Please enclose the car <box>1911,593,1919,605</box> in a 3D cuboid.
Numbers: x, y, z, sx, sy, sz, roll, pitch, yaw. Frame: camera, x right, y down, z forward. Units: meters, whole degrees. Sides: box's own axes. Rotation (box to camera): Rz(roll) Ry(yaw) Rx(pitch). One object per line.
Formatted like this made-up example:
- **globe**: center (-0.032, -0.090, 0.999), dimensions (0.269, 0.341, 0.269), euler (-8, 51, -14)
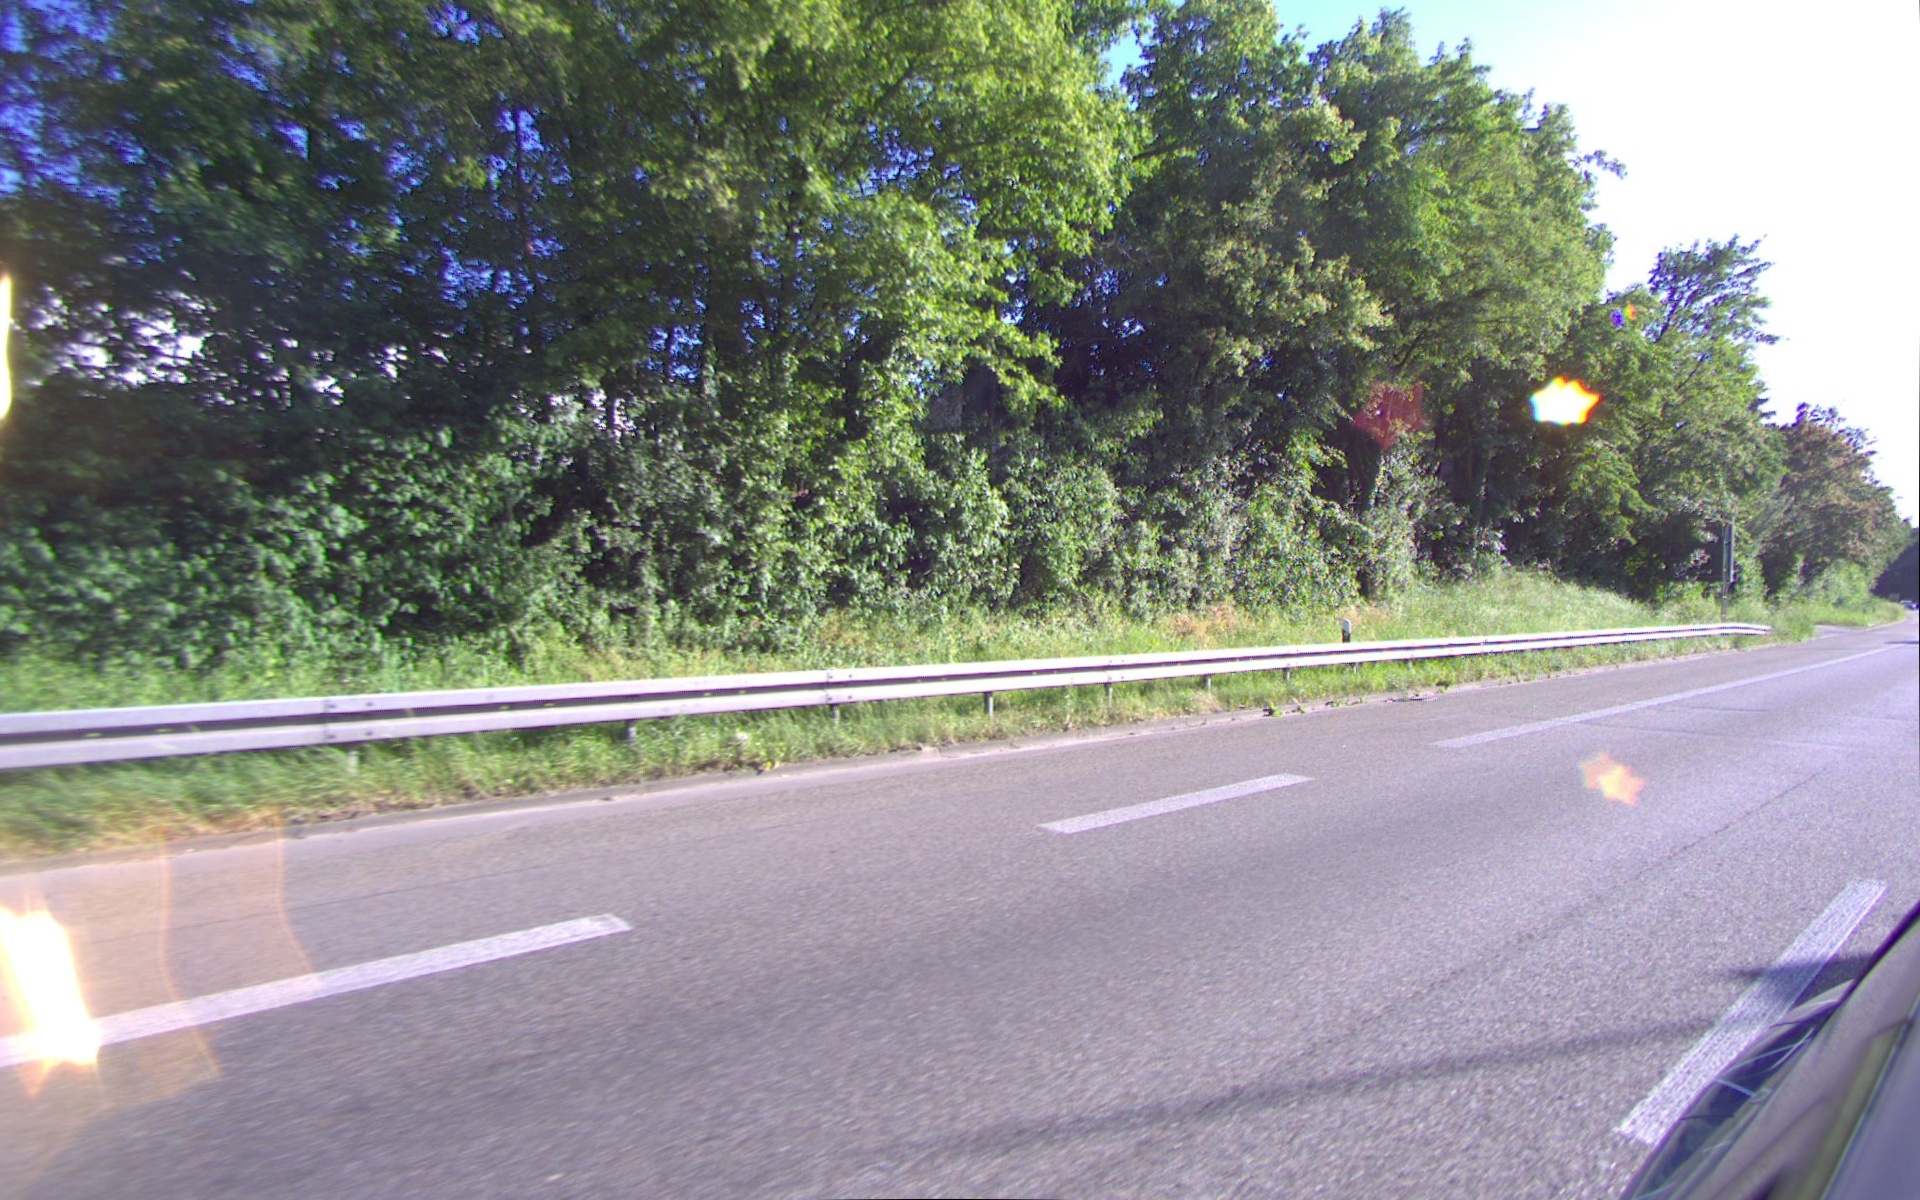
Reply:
- **car**: center (158.719, -0.205, 167.082), dimensions (1.989, 2.039, 3.945), euler (1, 1, 38)
